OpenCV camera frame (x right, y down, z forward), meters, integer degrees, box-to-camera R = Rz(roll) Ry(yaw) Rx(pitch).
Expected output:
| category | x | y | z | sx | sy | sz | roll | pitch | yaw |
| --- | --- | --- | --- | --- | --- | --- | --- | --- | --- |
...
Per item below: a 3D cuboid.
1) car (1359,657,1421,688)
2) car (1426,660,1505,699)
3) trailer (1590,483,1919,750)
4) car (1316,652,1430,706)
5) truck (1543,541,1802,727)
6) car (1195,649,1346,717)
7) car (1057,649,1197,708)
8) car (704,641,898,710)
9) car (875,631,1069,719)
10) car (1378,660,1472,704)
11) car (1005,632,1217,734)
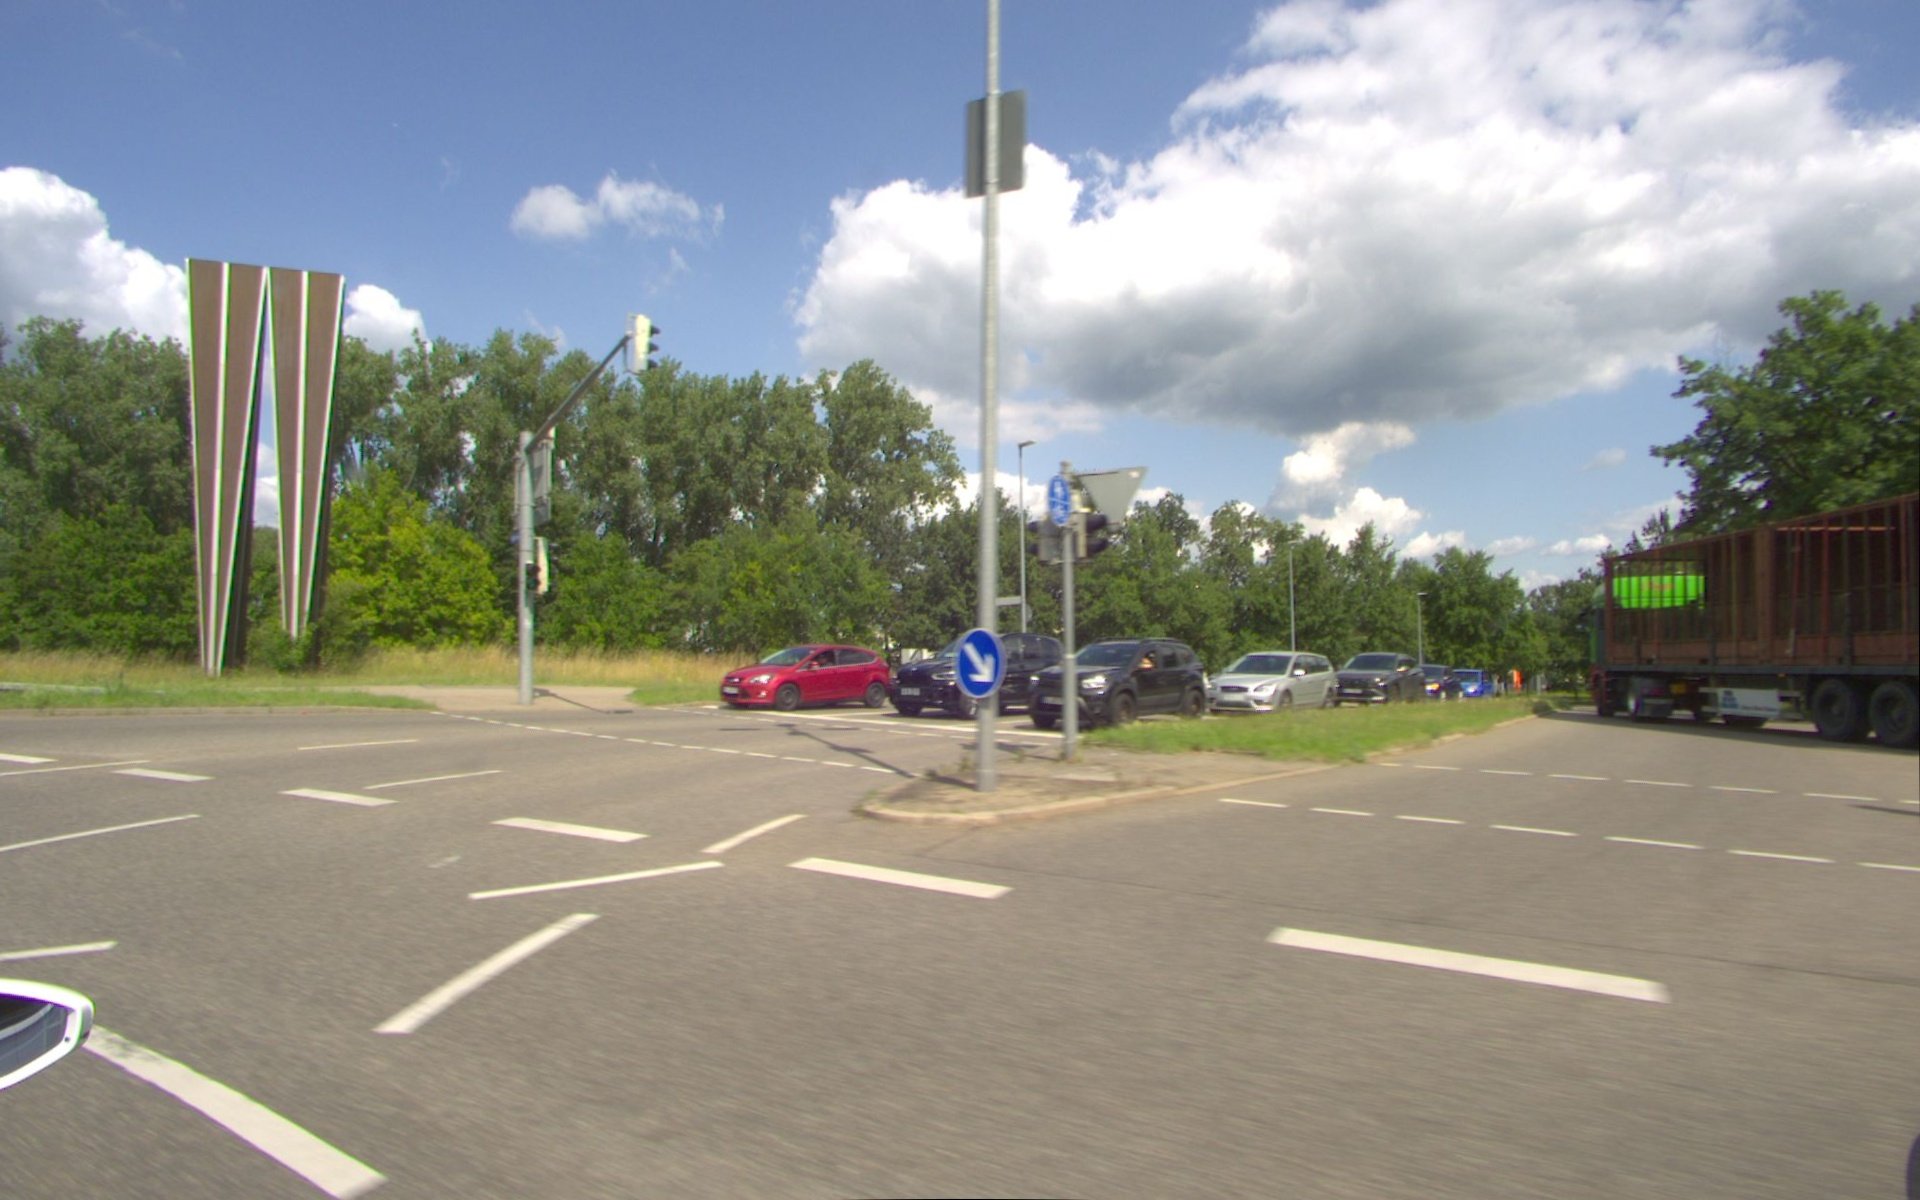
| category | x | y | z | sx | sy | sz | roll | pitch | yaw |
| --- | --- | --- | --- | --- | --- | --- | --- | --- | --- |
| car | 22.051 | 3.672 | 51.309 | 1.846 | 1.482 | 3.970 | -2 | -4 | 40 |
| car | 20.030 | 3.115 | 39.632 | 1.859 | 1.392 | 4.019 | -1 | -3 | 41 |
| trailer | 15.939 | 0.486 | 17.855 | 2.596 | 3.938 | 13.859 | 1 | -4 | 9 |
| car | 12.028 | 2.254 | 29.014 | 1.859 | 1.392 | 4.019 | -1 | -3 | 41 |
| truck | 16.903 | 0.913 | 24.342 | 2.823 | 3.950 | 5.882 | 1 | -4 | 10 |
| car | 7.236 | 1.862 | 23.067 | 1.628 | 1.392 | 4.508 | -1 | -3 | 41 |
| car | 4.427 | 2.008 | 26.116 | 1.628 | 1.392 | 4.184 | -1 | -3 | 41 |
| car | -3.499 | 1.670 | 22.606 | 1.739 | 1.392 | 4.184 | -1 | -3 | 41 |
| car | 0.349 | 1.546 | 21.255 | 1.817 | 1.666 | 4.184 | -1 | -3 | 41 |
| car | 15.932 | 2.768 | 34.225 | 1.859 | 1.392 | 4.019 | -1 | -3 | 41 |
| car | 2.849 | 1.476 | 18.268 | 1.825 | 1.636 | 4.262 | -3 | -5 | 41 |
